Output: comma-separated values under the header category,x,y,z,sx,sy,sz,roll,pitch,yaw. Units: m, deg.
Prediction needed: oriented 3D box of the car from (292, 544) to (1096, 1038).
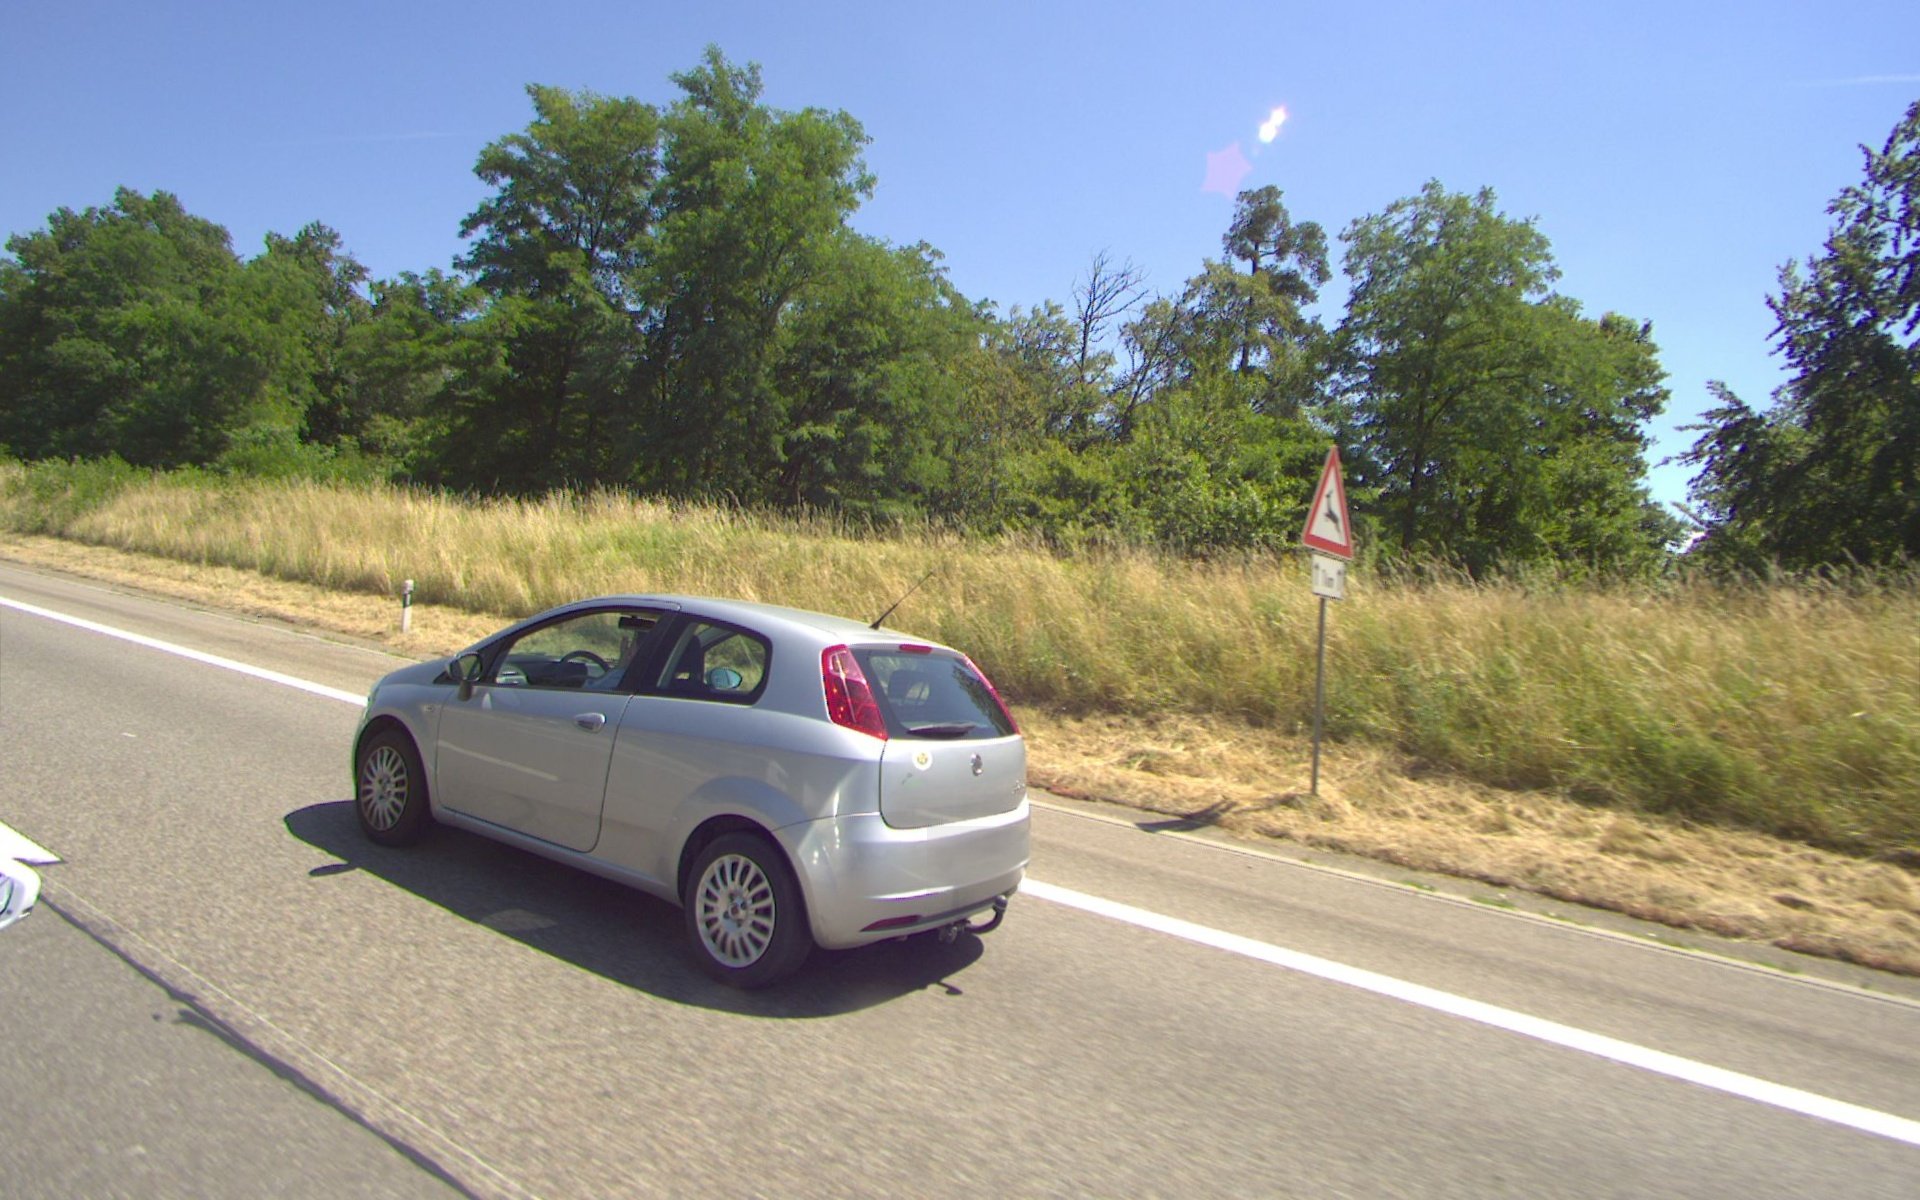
category,x,y,z,sx,sy,sz,roll,pitch,yaw
car,-1.513,0.690,5.275,3.915,1.483,1.748,6,-2,32
